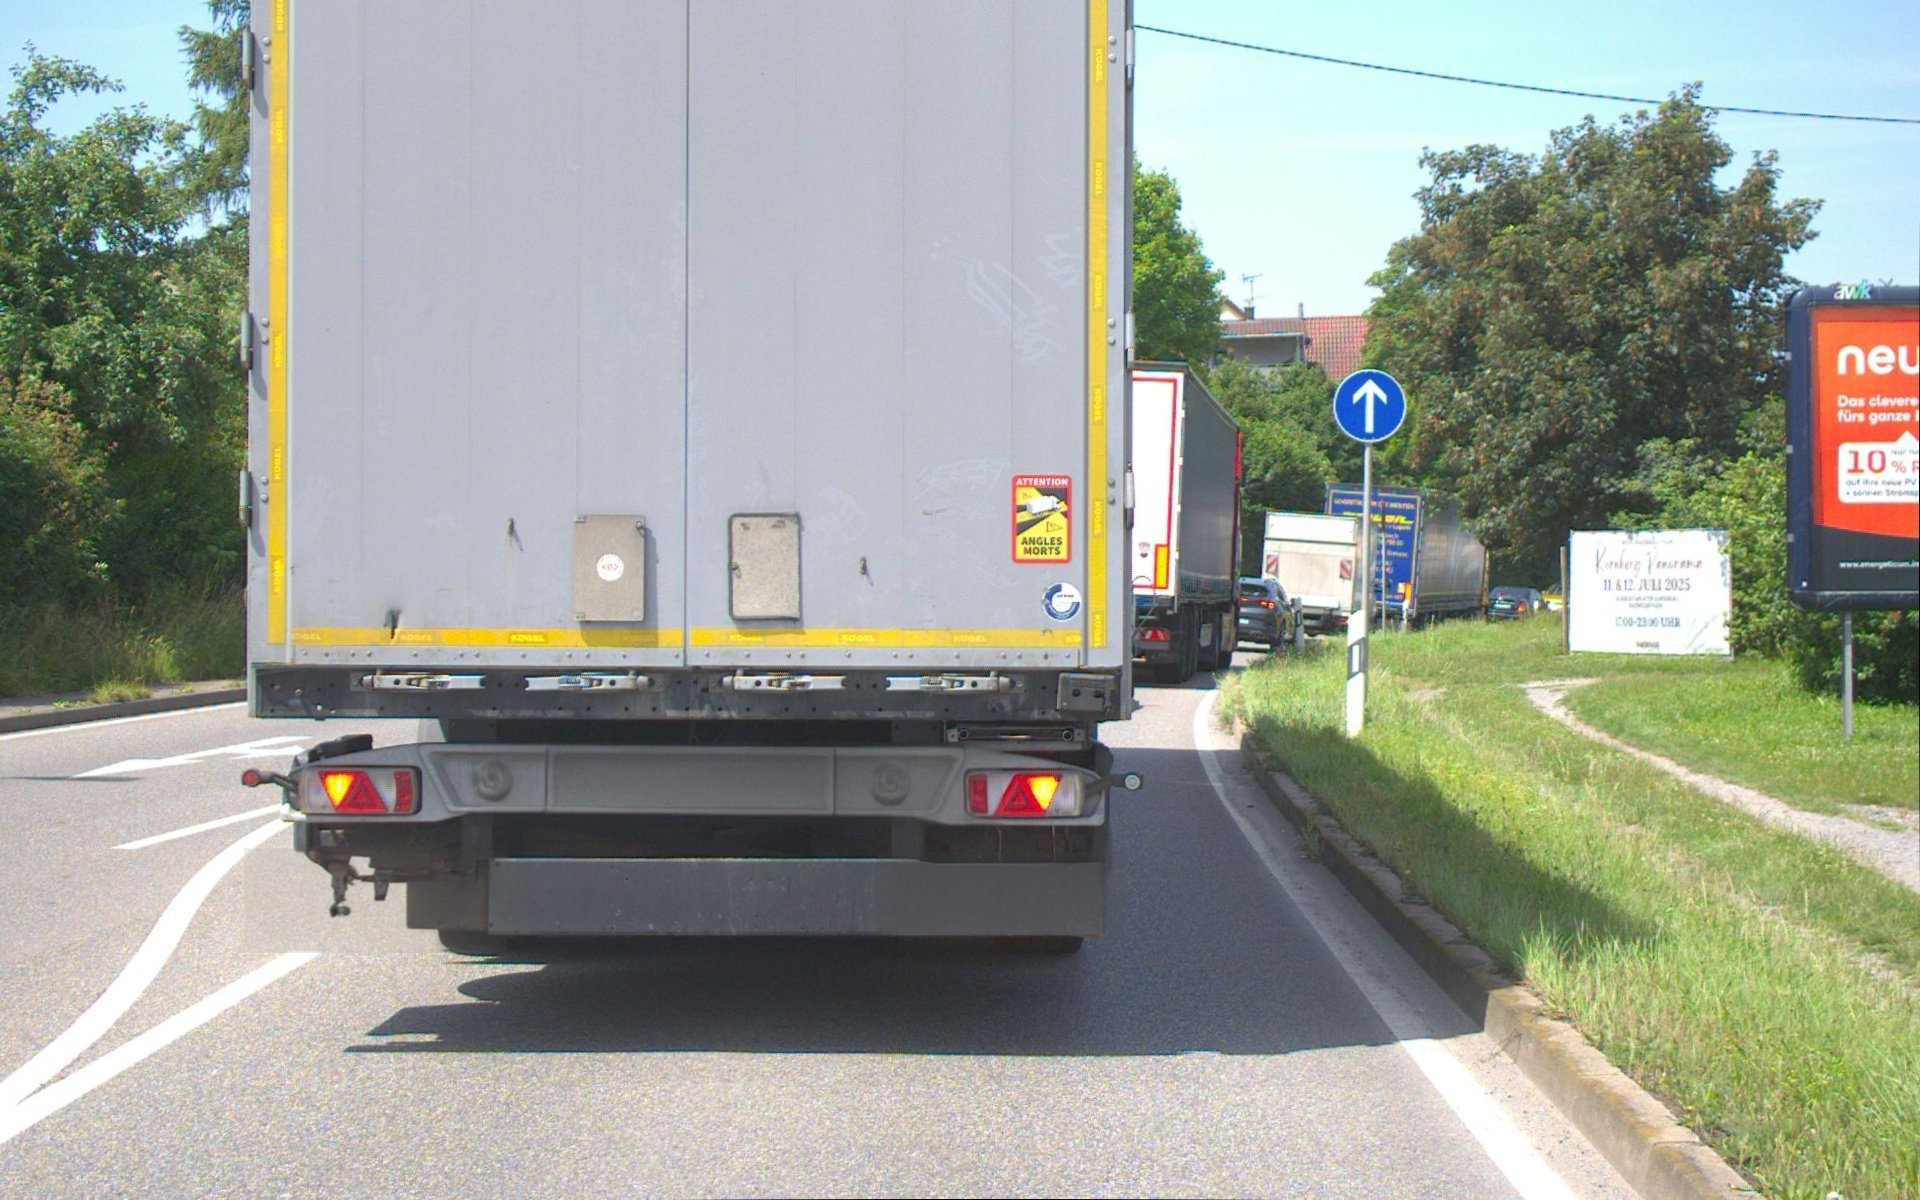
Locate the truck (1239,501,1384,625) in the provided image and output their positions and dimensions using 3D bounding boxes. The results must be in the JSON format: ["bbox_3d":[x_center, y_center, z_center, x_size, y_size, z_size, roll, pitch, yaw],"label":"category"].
[{"bbox_3d":[8.369,-0.855,81.345,2.545,2.793,6.028,1,0,14],"label":"truck"}]

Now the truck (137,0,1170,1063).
[{"bbox_3d":[-0.672,-0.919,15.184,2.822,4.113,11.443,1,1,2],"label":"truck"}]

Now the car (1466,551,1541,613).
[{"bbox_3d":[17.942,-0.584,113.386,1.995,2.007,3.997,1,0,15],"label":"car"}]

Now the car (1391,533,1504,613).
[{"bbox_3d":[14.608,-0.848,102.738,2.533,2.269,6.377,1,1,15],"label":"car"}]

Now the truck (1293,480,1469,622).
[{"bbox_3d":[11.449,-1.362,92.714,3.435,3.592,9.347,1,1,15],"label":"truck"}]

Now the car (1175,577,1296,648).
[{"bbox_3d":[5.668,0.252,70.443,1.994,1.371,3.998,1,0,11],"label":"car"}]

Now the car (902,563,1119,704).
[{"bbox_3d":[0.574,0.321,35.503,1.819,1.342,3.846,1,0,7],"label":"car"}]

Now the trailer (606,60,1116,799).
[{"bbox_3d":[-0.414,-1.016,22.398,2.825,4.097,6.544,0,1,3],"label":"trailer"}]

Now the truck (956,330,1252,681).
[{"bbox_3d":[2.451,-1.178,50.339,2.761,4.274,16.410,1,0,8],"label":"truck"}]
